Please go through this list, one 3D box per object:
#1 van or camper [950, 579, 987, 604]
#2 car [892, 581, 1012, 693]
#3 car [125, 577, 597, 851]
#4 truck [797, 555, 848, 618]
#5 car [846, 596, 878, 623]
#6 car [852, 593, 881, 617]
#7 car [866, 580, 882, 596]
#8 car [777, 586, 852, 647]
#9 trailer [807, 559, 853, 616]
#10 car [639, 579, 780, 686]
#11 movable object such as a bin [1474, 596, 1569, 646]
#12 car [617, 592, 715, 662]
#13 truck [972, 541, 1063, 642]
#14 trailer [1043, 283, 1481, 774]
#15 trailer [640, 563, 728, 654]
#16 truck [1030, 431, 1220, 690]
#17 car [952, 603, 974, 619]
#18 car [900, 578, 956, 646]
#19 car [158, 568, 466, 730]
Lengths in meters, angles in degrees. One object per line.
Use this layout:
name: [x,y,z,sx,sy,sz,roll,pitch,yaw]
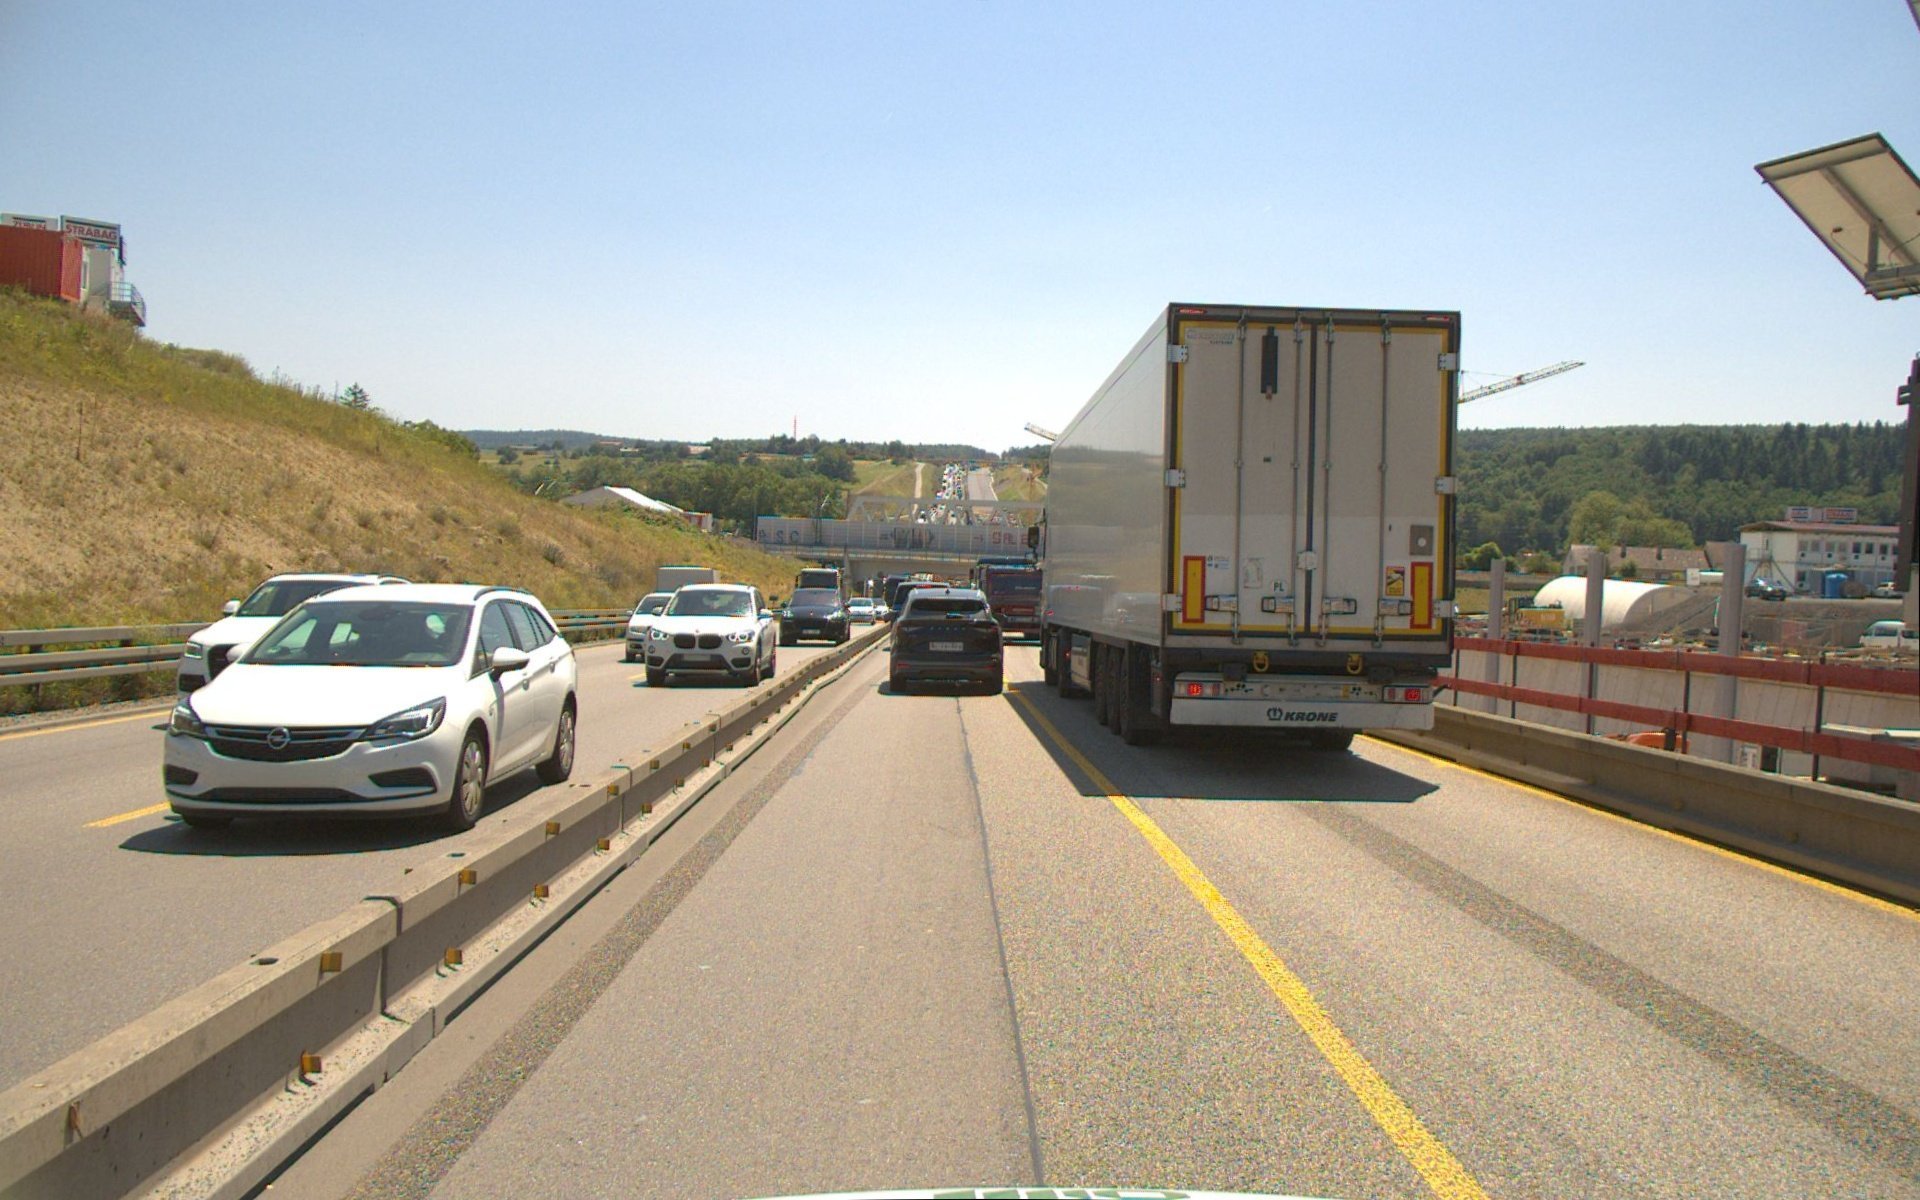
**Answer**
van or camper: [1.214,-1.315,246.980,3.873,3.479,8.384,1,0,-11]
car: [-0.141,0.541,26.590,1.764,1.648,3.297,1,1,-1]
car: [-3.825,0.630,11.412,1.769,1.503,4.279,1,0,-2]
truck: [-8.677,-0.819,105.315,2.534,3.788,9.330,1,0,-1]
car: [-5.397,0.533,91.137,1.650,1.455,3.291,1,0,-2]
car: [-5.784,0.296,102.440,1.650,1.455,4.121,1,0,-2]
car: [-9.841,-1.410,189.646,1.697,1.825,3.579,1,0,-1]
car: [-4.293,0.468,49.334,1.852,1.738,4.561,0,0,0]
trailer: [-8.815,-0.819,113.128,2.534,3.700,9.076,1,0,-1]
car: [-4.099,0.485,27.692,1.779,1.620,4.289,1,0,-2]
movable object such as a bin: [35.774,1.281,105.821,2.828,2.960,9.478,1,0,0]
car: [-6.368,0.548,36.144,1.614,1.440,3.997,0,0,-3]
truck: [1.877,-0.270,59.493,2.756,3.190,12.836,1,0,0]
trailer: [2.927,-0.595,21.113,2.744,4.129,14.113,1,0,-1]
trailer: [-6.576,0.192,39.749,1.614,2.061,4.267,0,0,-3]
truck: [2.757,-0.623,29.063,2.720,4.129,4.903,1,0,-1]
car: [0.209,0.882,129.561,1.507,1.227,3.309,1,0,-3]
car: [-0.880,0.316,47.183,1.444,1.826,3.298,-1,0,1]
car: [-7.287,0.489,19.144,1.861,1.612,4.513,1,0,-2]
